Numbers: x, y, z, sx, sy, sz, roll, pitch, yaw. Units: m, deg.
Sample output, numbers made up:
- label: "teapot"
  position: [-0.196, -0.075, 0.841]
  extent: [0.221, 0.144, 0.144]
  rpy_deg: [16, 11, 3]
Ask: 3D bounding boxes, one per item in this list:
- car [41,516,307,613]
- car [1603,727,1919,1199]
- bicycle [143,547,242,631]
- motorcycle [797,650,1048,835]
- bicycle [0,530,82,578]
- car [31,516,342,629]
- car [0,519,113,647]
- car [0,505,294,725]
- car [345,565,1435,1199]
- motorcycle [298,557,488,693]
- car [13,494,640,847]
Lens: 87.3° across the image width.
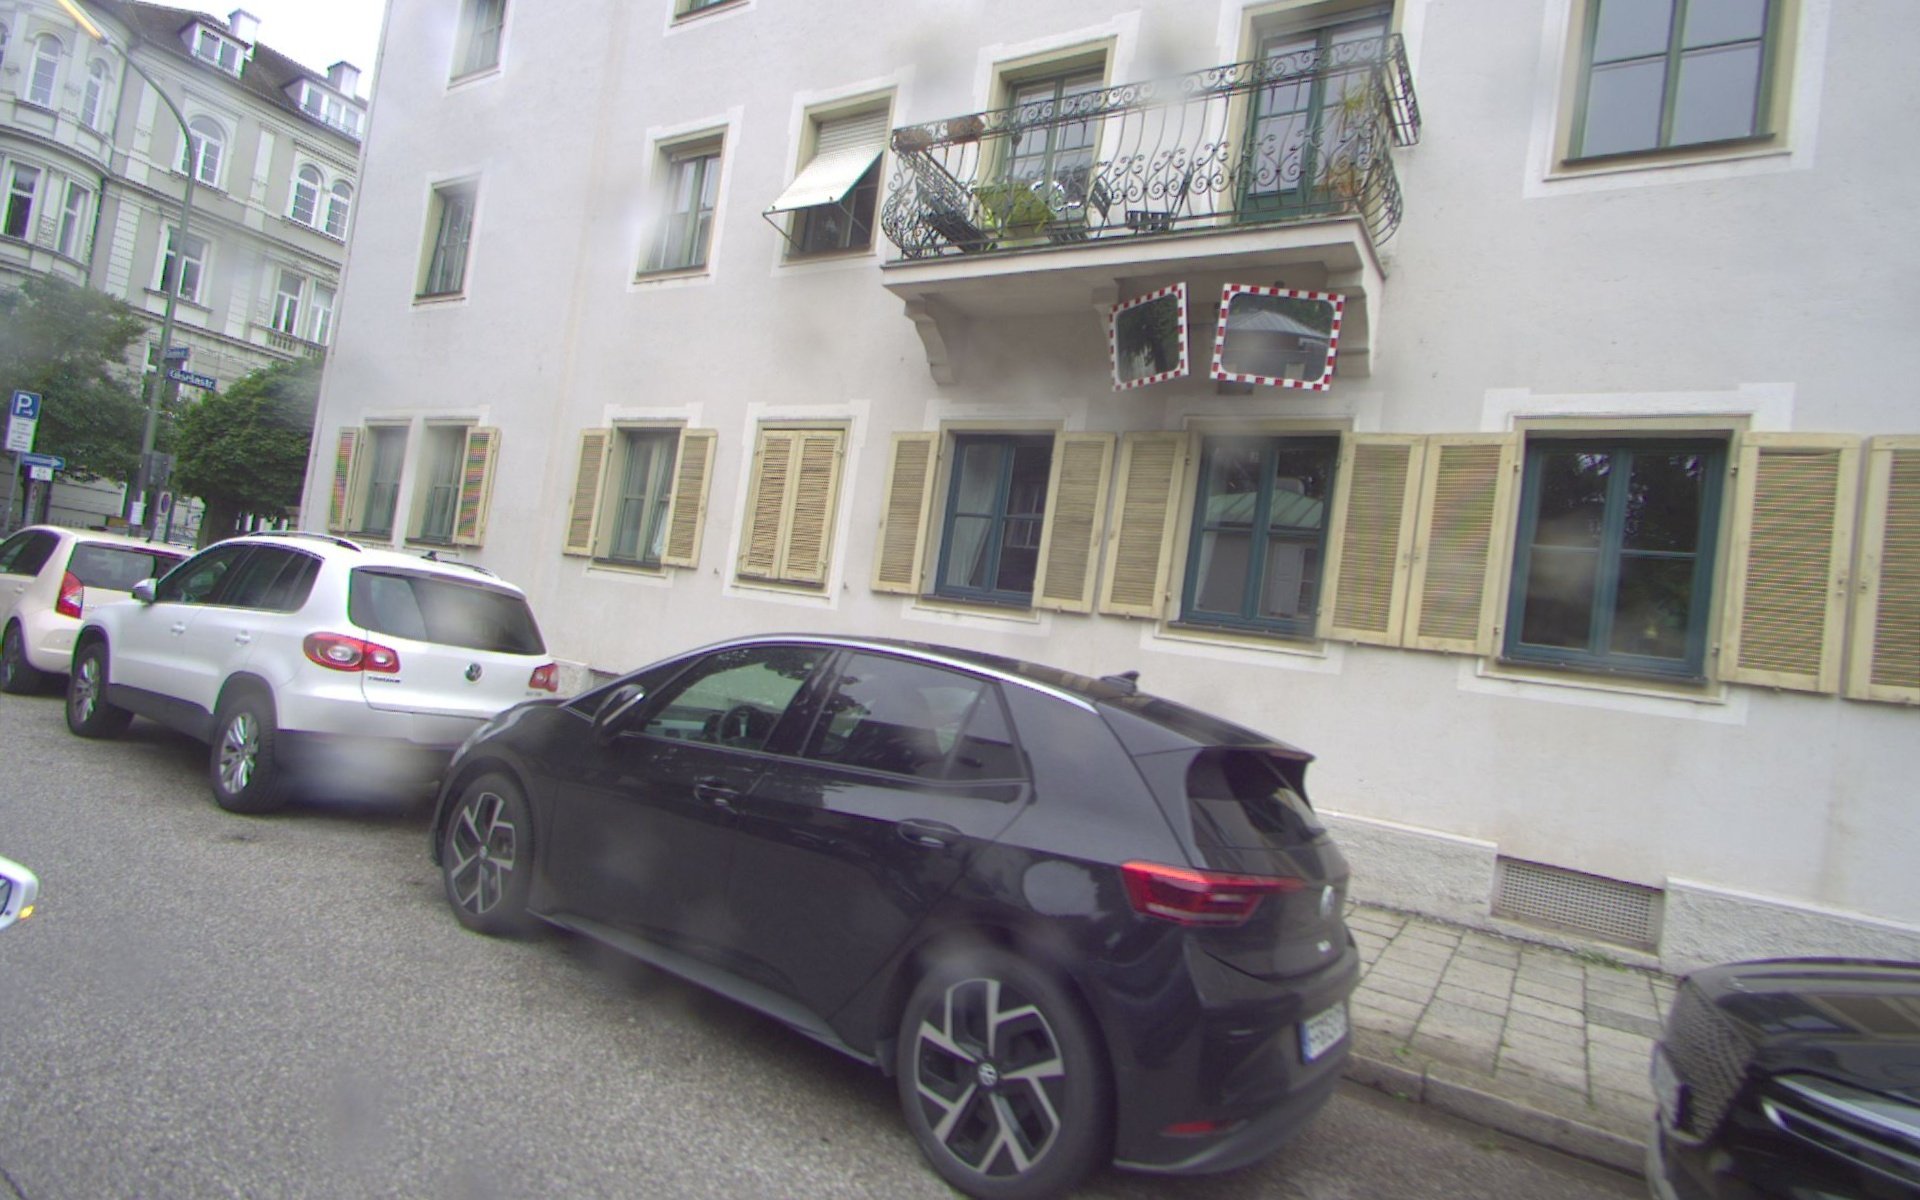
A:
- label: "car"
  position: [-20.475, -0.843, 26.491]
  extent: [1.913, 1.669, 5.051]
  rpy_deg: [2, -6, 32]
- label: "car"
  position: [4.067, 1.394, 1.661]
  extent: [4.816, 1.595, 1.865]
  rpy_deg: [7, -2, 30]
- label: "bicycle"
  position: [-13.285, -0.201, 17.412]
  extent: [1.746, 1.239, 0.543]
  rpy_deg: [6, -2, 27]
- label: "motorcycle"
  position: [-0.350, 1.215, 8.851]
  extent: [1.974, 1.252, 0.734]
  rpy_deg: [6, -4, 32]
- label: "bicycle"
  position: [-25.513, -1.285, 27.633]
  extent: [0.548, 1.039, 1.924]
  rpy_deg: [8, -2, 37]
- label: "car"
  position: [-16.643, -0.509, 21.953]
  extent: [1.881, 1.548, 4.918]
  rpy_deg: [10, -2, 32]
- label: "car"
  position: [-12.609, -0.398, 12.391]
  extent: [4.520, 1.335, 2.002]
  rpy_deg: [6, -1, 33]
- label: "car"
  position: [-8.515, 0.075, 9.930]
  extent: [3.653, 1.559, 1.778]
  rpy_deg: [6, -8, 35]
- label: "car"
  position: [-0.535, 0.907, 4.351]
  extent: [4.344, 1.549, 1.842]
  rpy_deg: [6, -2, 34]
- label: "motorcycle"
  position: [-7.612, 0.307, 13.457]
  extent: [2.662, 1.449, 0.859]
  rpy_deg: [7, -3, 31]
- label: "car"
  position: [-4.756, 0.400, 7.387]
  extent: [4.460, 1.724, 2.000]
  rpy_deg: [6, -5, 33]
